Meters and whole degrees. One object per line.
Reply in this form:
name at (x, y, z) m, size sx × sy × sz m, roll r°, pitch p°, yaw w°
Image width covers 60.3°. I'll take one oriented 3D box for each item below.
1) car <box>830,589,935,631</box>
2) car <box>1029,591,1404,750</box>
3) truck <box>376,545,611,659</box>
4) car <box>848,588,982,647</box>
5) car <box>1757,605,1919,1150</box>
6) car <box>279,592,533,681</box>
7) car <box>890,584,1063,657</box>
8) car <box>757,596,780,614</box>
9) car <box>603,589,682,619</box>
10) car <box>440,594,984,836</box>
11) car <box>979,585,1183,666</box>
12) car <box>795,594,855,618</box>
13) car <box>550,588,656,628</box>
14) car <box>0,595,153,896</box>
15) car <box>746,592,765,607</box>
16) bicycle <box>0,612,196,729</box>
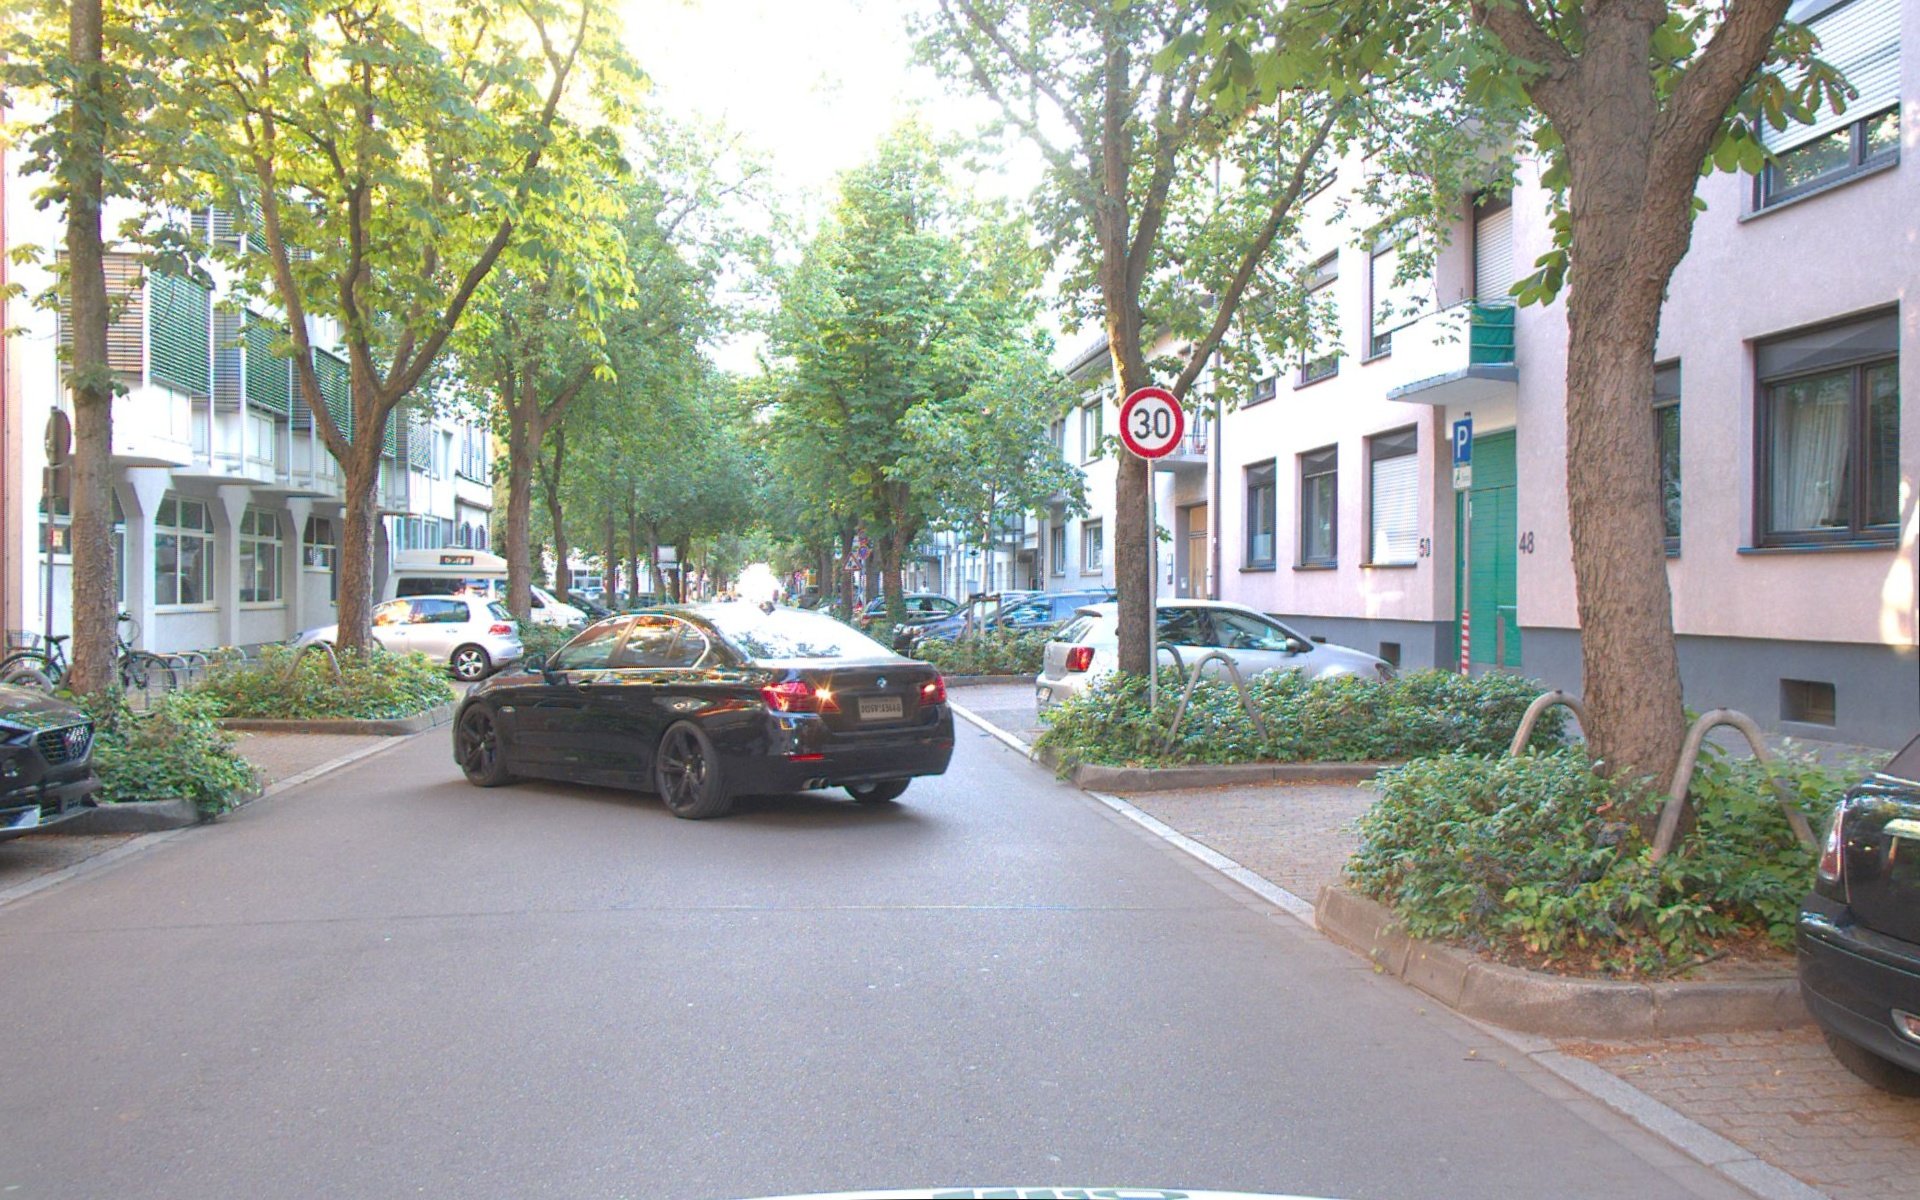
car at (-2.795, 0.350, 59.180) m, size 3.589 × 1.417 × 1.562 m, roll -1°, pitch 0°, yaw -9°
car at (2.637, 0.691, 17.375) m, size 3.589 × 1.505 × 1.562 m, roll -1°, pitch 0°, yaw -9°
truck at (-10.653, 0.027, 38.101) m, size 4.903 × 2.483 × 1.914 m, roll 1°, pitch 1°, yaw -6°
car at (-1.277, 0.473, 46.202) m, size 3.589 × 1.563 × 1.562 m, roll -1°, pitch 0°, yaw -9°
car at (4.403, 0.688, 4.662) m, size 3.638 × 1.452 × 1.622 m, roll -3°, pitch 1°, yaw -12°
car at (-9.909, 0.639, 29.813) m, size 4.054 × 1.497 × 1.637 m, roll 1°, pitch 0°, yaw -8°
car at (0.353, 0.442, 37.482) m, size 3.722 × 1.556 × 1.562 m, roll -1°, pitch 0°, yaw -9°
car at (-16.874, 0.410, 145.591) m, size 1.956 × 1.579 × 3.994 m, roll 0°, pitch 0°, yaw -7°
car at (-16.528, 0.202, 86.217) m, size 3.945 × 1.497 × 1.637 m, roll 1°, pitch 0°, yaw -8°
car at (-2.044, 0.703, 12.510) m, size 1.755 × 1.475 × 4.592 m, roll 0°, pitch 0°, yaw -44°
car at (2.252, 0.456, 31.214) m, size 3.589 × 1.417 × 1.562 m, roll -1°, pitch 0°, yaw -9°
car at (-8.335, 0.388, 101.913) m, size 3.589 × 1.417 × 1.562 m, roll -1°, pitch 0°, yaw -9°
car at (-14.129, 0.319, 65.657) m, size 3.945 × 1.497 × 1.637 m, roll 1°, pitch 0°, yaw -8°
car at (-7.083, 0.722, 9.173) m, size 4.274 × 1.535 × 1.832 m, roll 1°, pitch 0°, yaw -7°
car at (-21.116, -0.095, 171.228) m, size 1.858 × 1.500 × 3.995 m, roll 0°, pitch 0°, yaw -6°
bicycle at (-9.382, 0.750, 17.942) m, size 1.939 × 1.220 × 0.499 m, roll 0°, pitch 0°, yaw -18°
